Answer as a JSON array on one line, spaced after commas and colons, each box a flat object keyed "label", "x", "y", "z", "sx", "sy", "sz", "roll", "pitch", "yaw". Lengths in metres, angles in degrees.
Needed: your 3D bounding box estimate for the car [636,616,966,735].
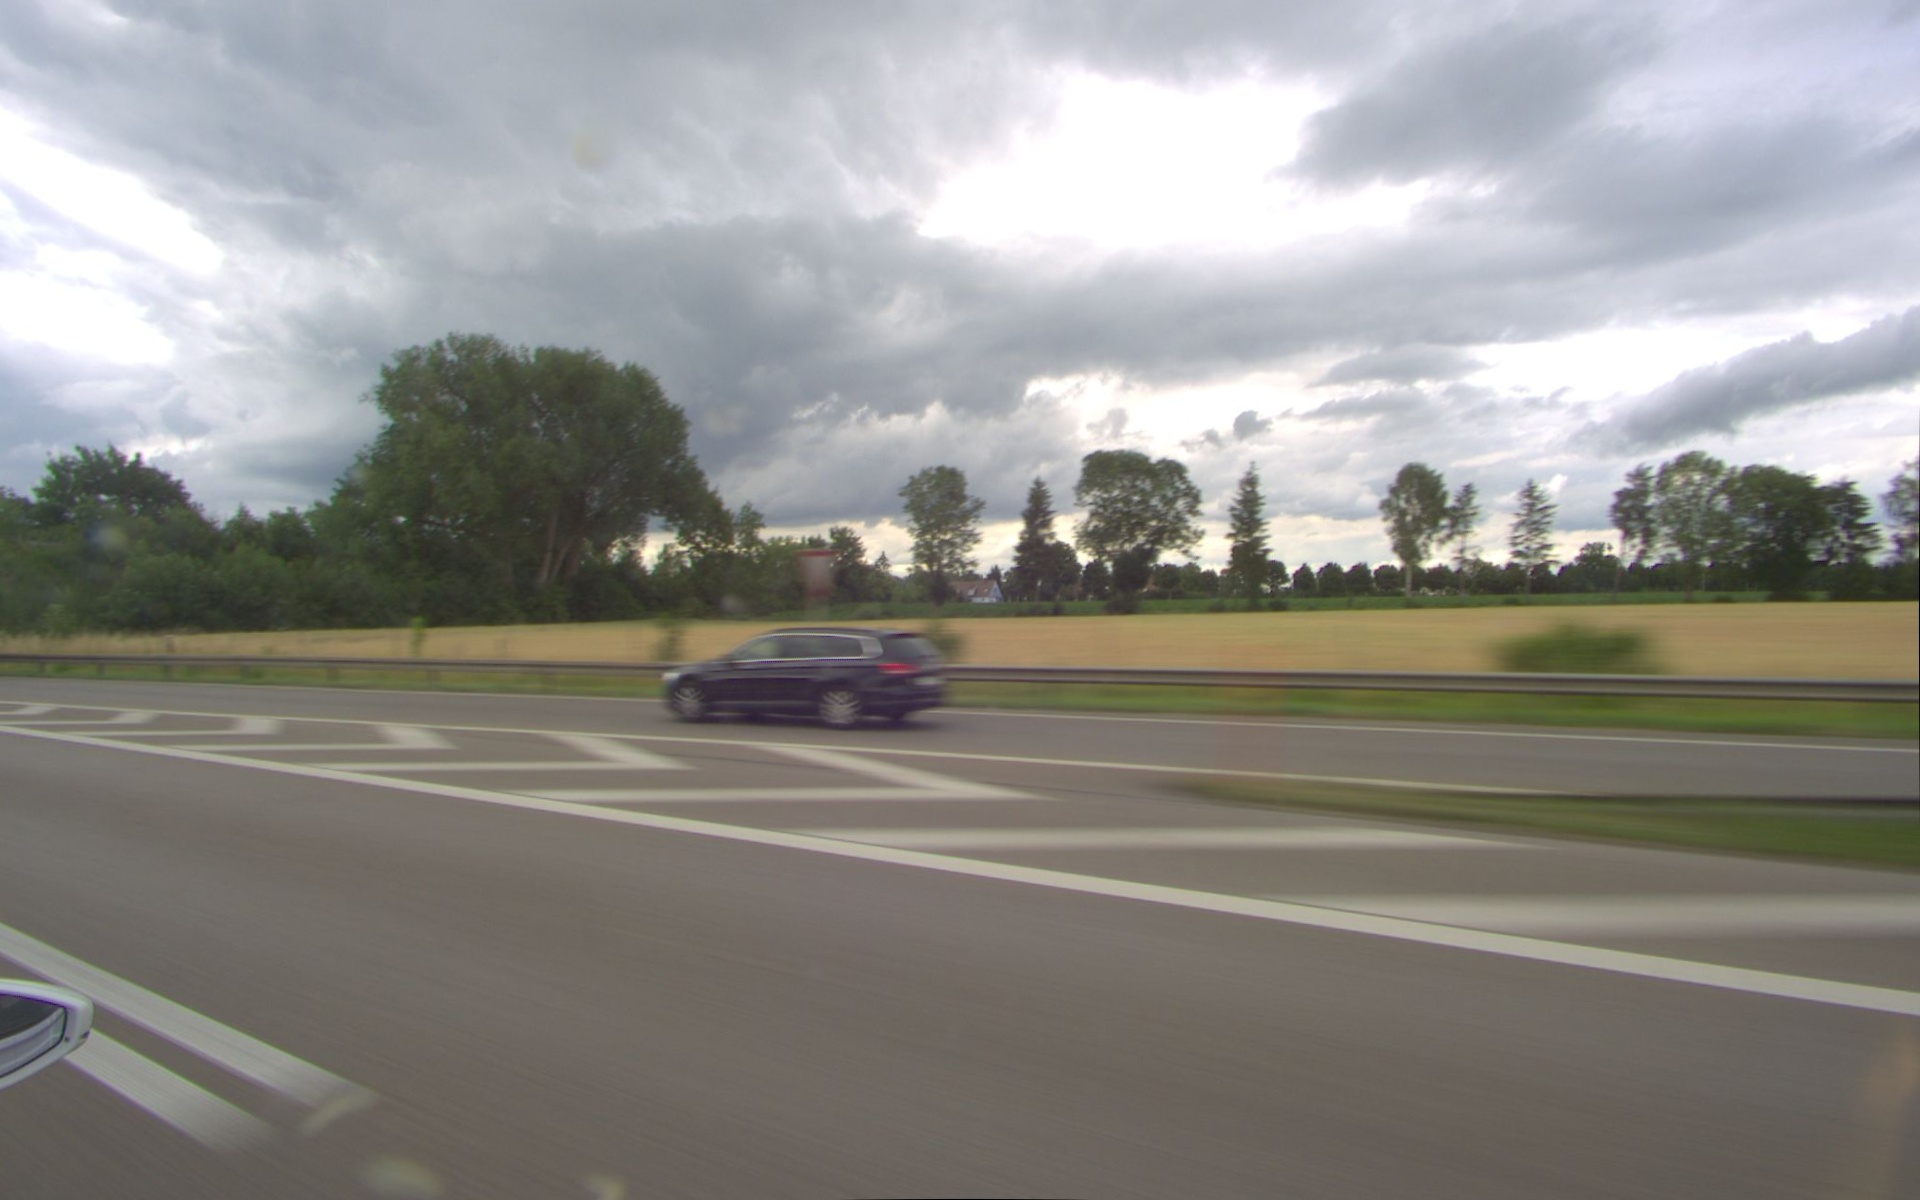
[{"label": "car", "x": -2.496, "y": 1.079, "z": 15.525, "sx": 4.845, "sy": 1.571, "sz": 1.917, "roll": -1, "pitch": 0, "yaw": 26}]
